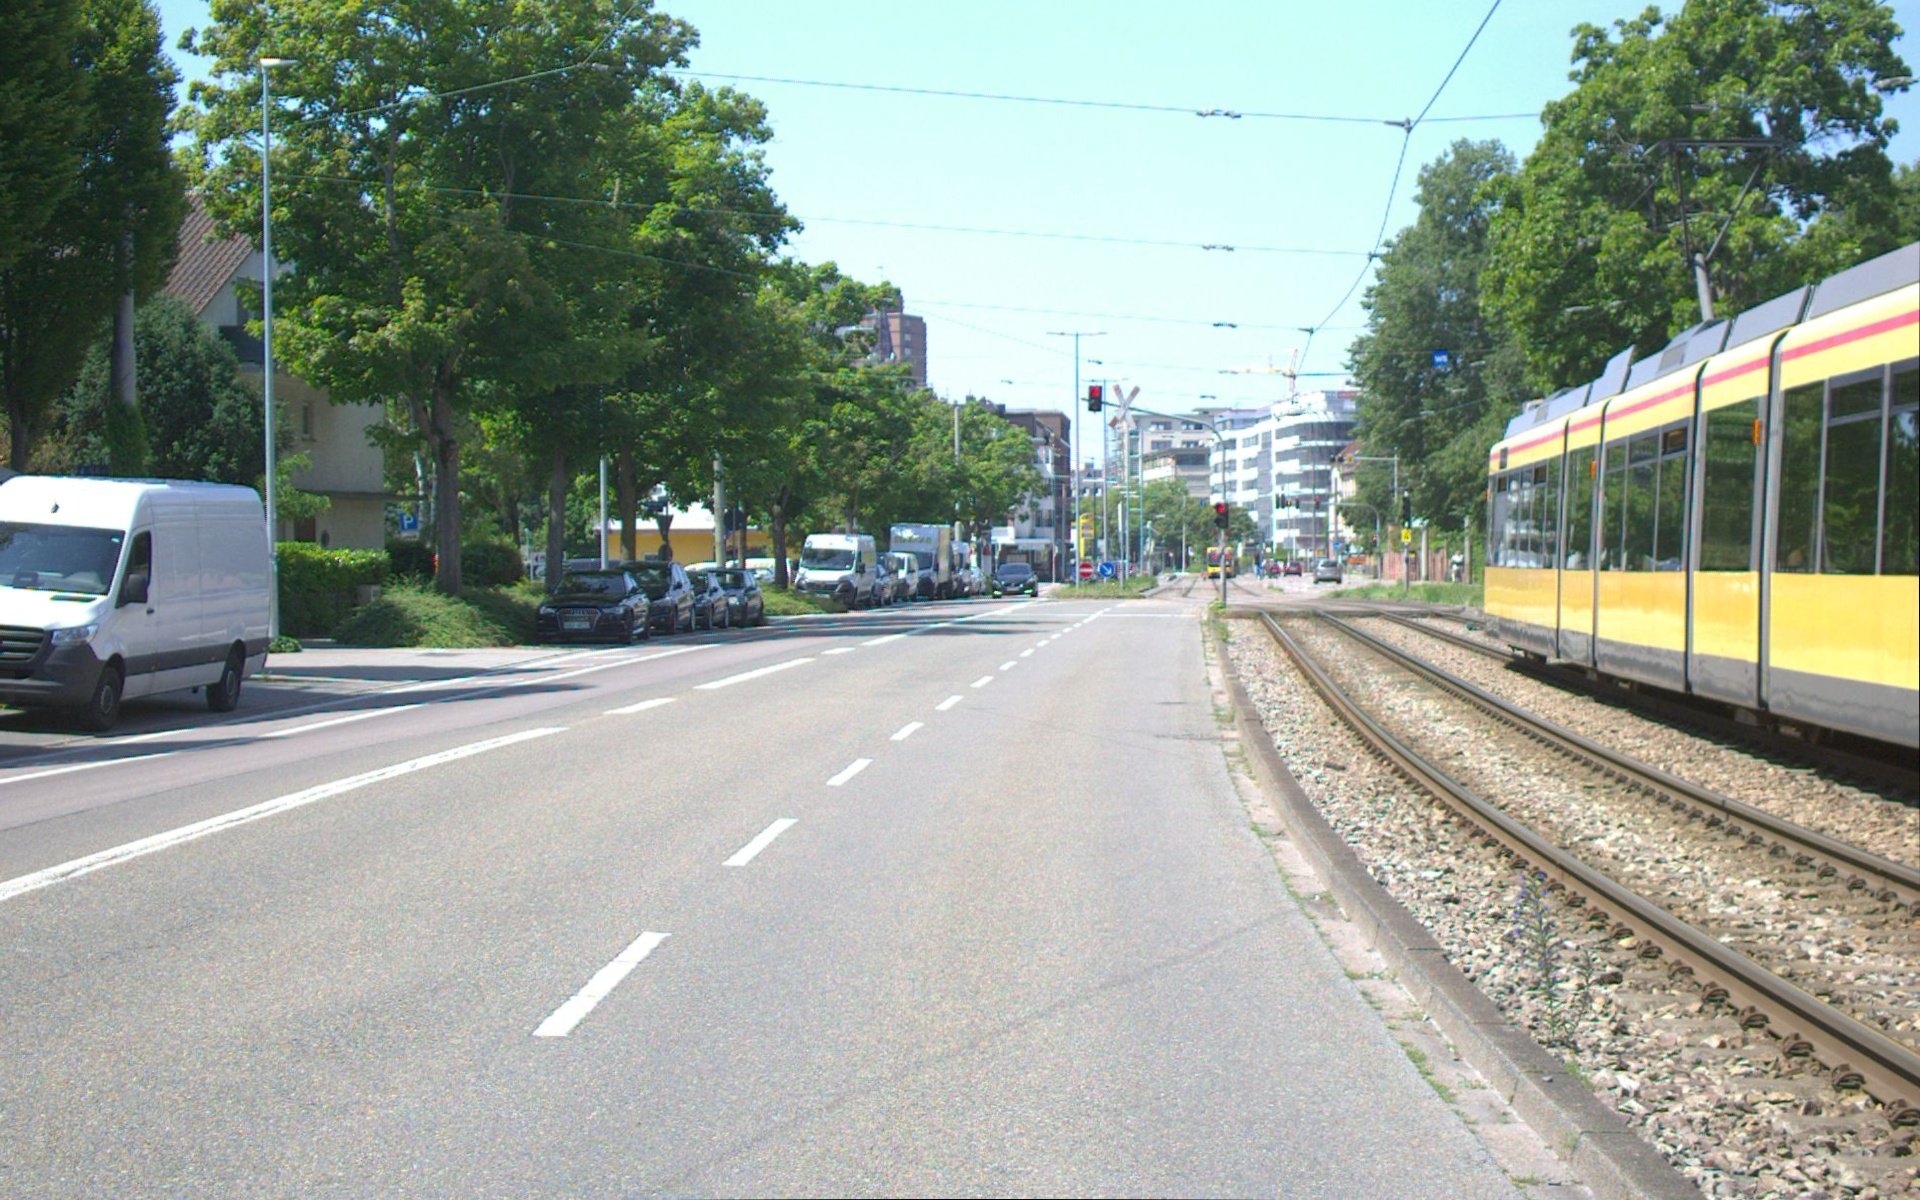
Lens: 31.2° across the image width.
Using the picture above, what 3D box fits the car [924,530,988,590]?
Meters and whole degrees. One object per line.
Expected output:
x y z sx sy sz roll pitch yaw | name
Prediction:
-0.163 -1.869 159.567 2.157 2.630 5.610 3 1 7 | car

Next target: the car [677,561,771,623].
-5.925 -0.232 86.790 1.775 1.476 4.047 2 1 4 | car

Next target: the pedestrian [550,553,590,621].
-10.562 -0.360 93.160 0.974 1.817 0.794 0 1 2 | pedestrian

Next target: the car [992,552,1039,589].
2.297 -1.220 141.587 1.775 1.455 4.195 -2 1 3 | car

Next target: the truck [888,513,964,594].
-1.403 -1.950 144.607 2.157 3.199 7.080 3 1 7 | truck

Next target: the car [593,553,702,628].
-6.929 -0.234 76.651 1.775 1.598 4.637 1 1 3 | car

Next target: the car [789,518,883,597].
-4.156 -1.441 116.609 2.157 2.478 6.191 3 1 7 | car

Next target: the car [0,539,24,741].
-10.007 0.422 30.194 1.806 1.889 5.362 0 1 3 | car

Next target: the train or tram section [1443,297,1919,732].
7.828 -0.879 39.441 2.944 3.679 20.281 1 1 4 | train or tram section

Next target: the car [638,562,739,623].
-6.437 -0.202 81.983 1.775 1.368 4.696 2 1 3 | car

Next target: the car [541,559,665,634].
-7.126 -0.092 69.003 1.775 1.451 4.804 0 1 3 | car

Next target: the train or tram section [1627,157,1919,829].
6.783 -0.596 20.159 2.944 3.679 18.388 1 1 3 | train or tram section

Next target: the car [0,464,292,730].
-9.690 -0.132 38.550 2.324 2.642 7.034 4 1 5 | car

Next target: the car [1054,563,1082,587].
6.764 -1.579 215.063 1.678 1.393 4.005 -2 1 2 | car
